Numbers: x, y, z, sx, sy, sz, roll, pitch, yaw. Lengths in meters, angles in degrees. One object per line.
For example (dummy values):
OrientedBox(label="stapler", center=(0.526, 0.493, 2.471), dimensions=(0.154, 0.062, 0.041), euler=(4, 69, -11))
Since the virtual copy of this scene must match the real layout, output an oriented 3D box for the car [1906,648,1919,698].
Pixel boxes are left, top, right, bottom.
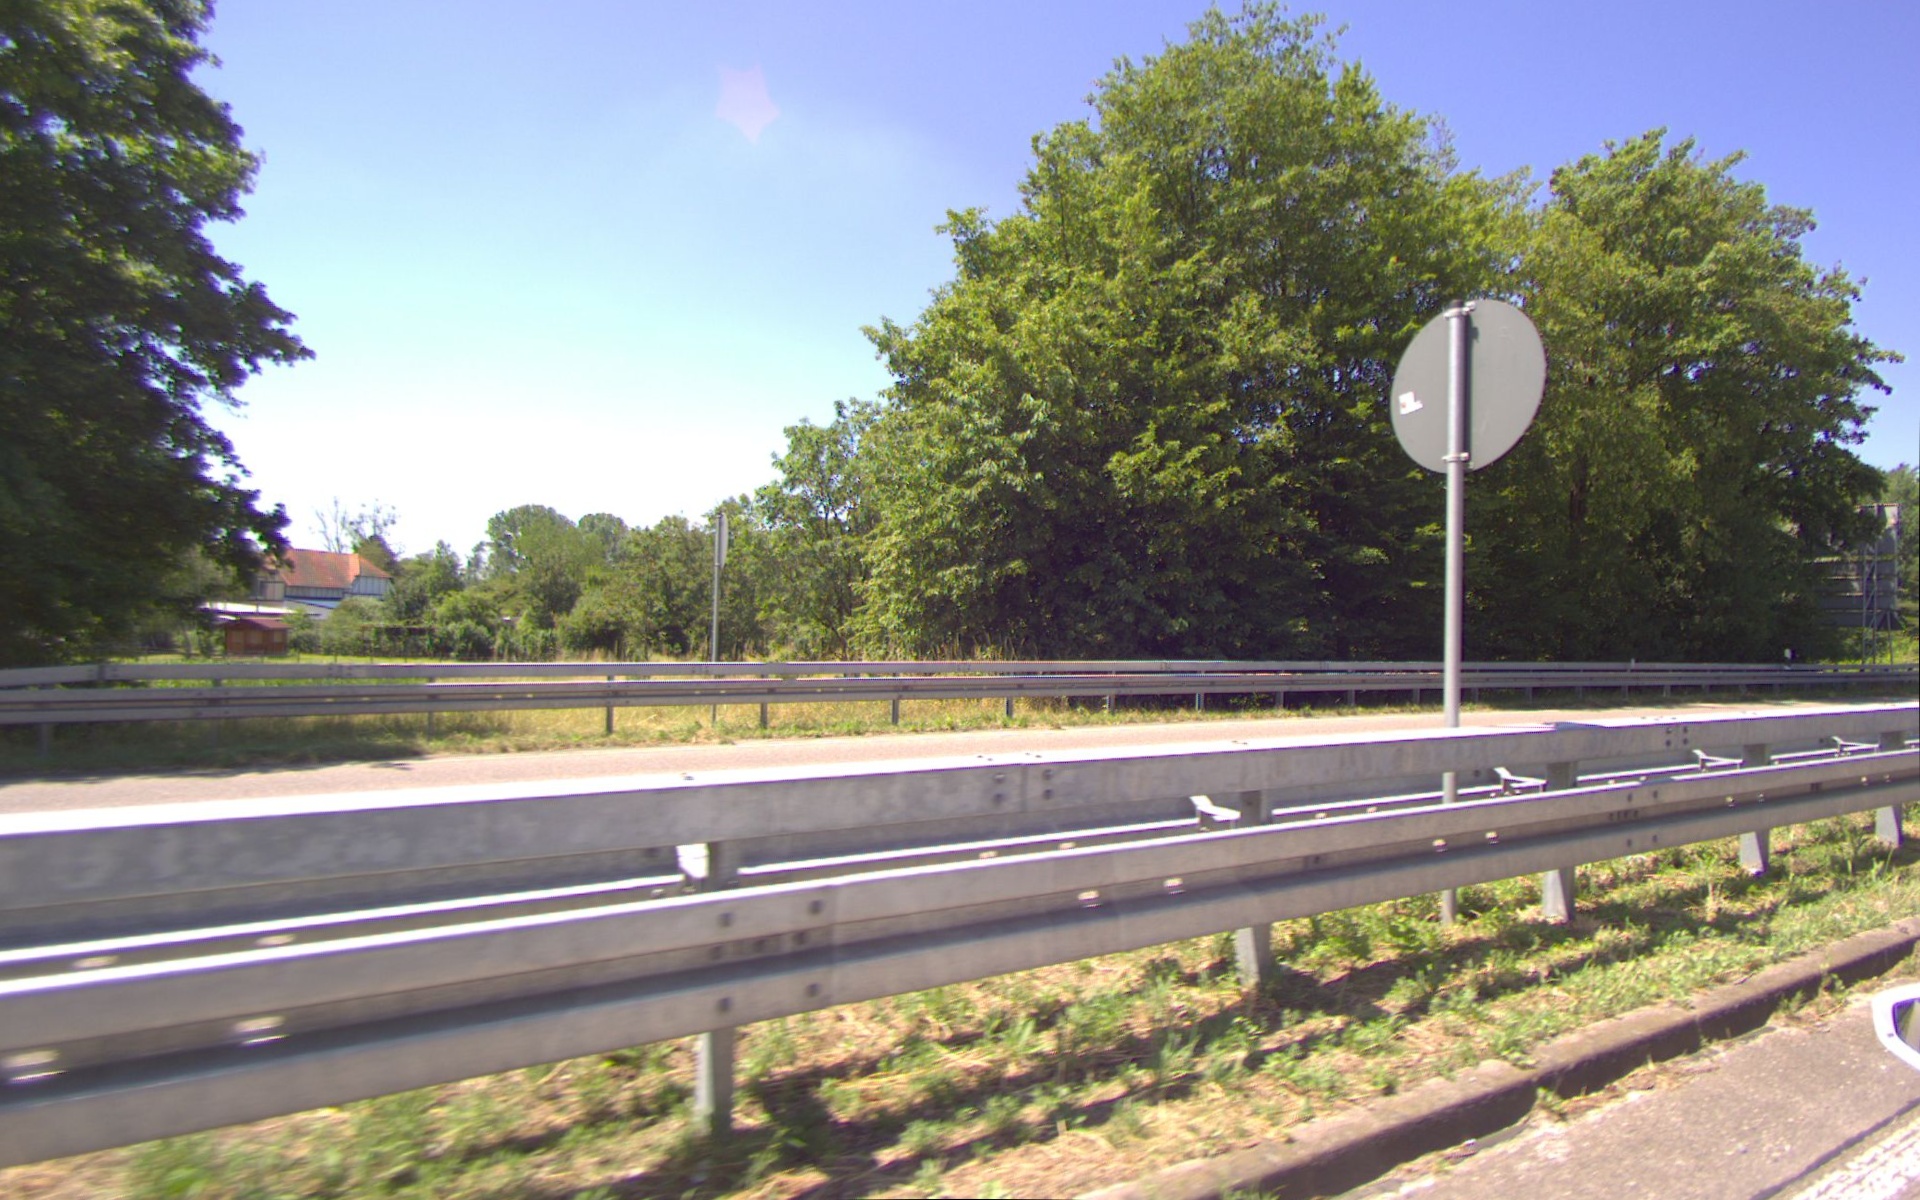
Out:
OrientedBox(label="car", center=(28.883, 2.092, 28.635), dimensions=(3.954, 1.409, 1.788), euler=(2, -2, -31))
